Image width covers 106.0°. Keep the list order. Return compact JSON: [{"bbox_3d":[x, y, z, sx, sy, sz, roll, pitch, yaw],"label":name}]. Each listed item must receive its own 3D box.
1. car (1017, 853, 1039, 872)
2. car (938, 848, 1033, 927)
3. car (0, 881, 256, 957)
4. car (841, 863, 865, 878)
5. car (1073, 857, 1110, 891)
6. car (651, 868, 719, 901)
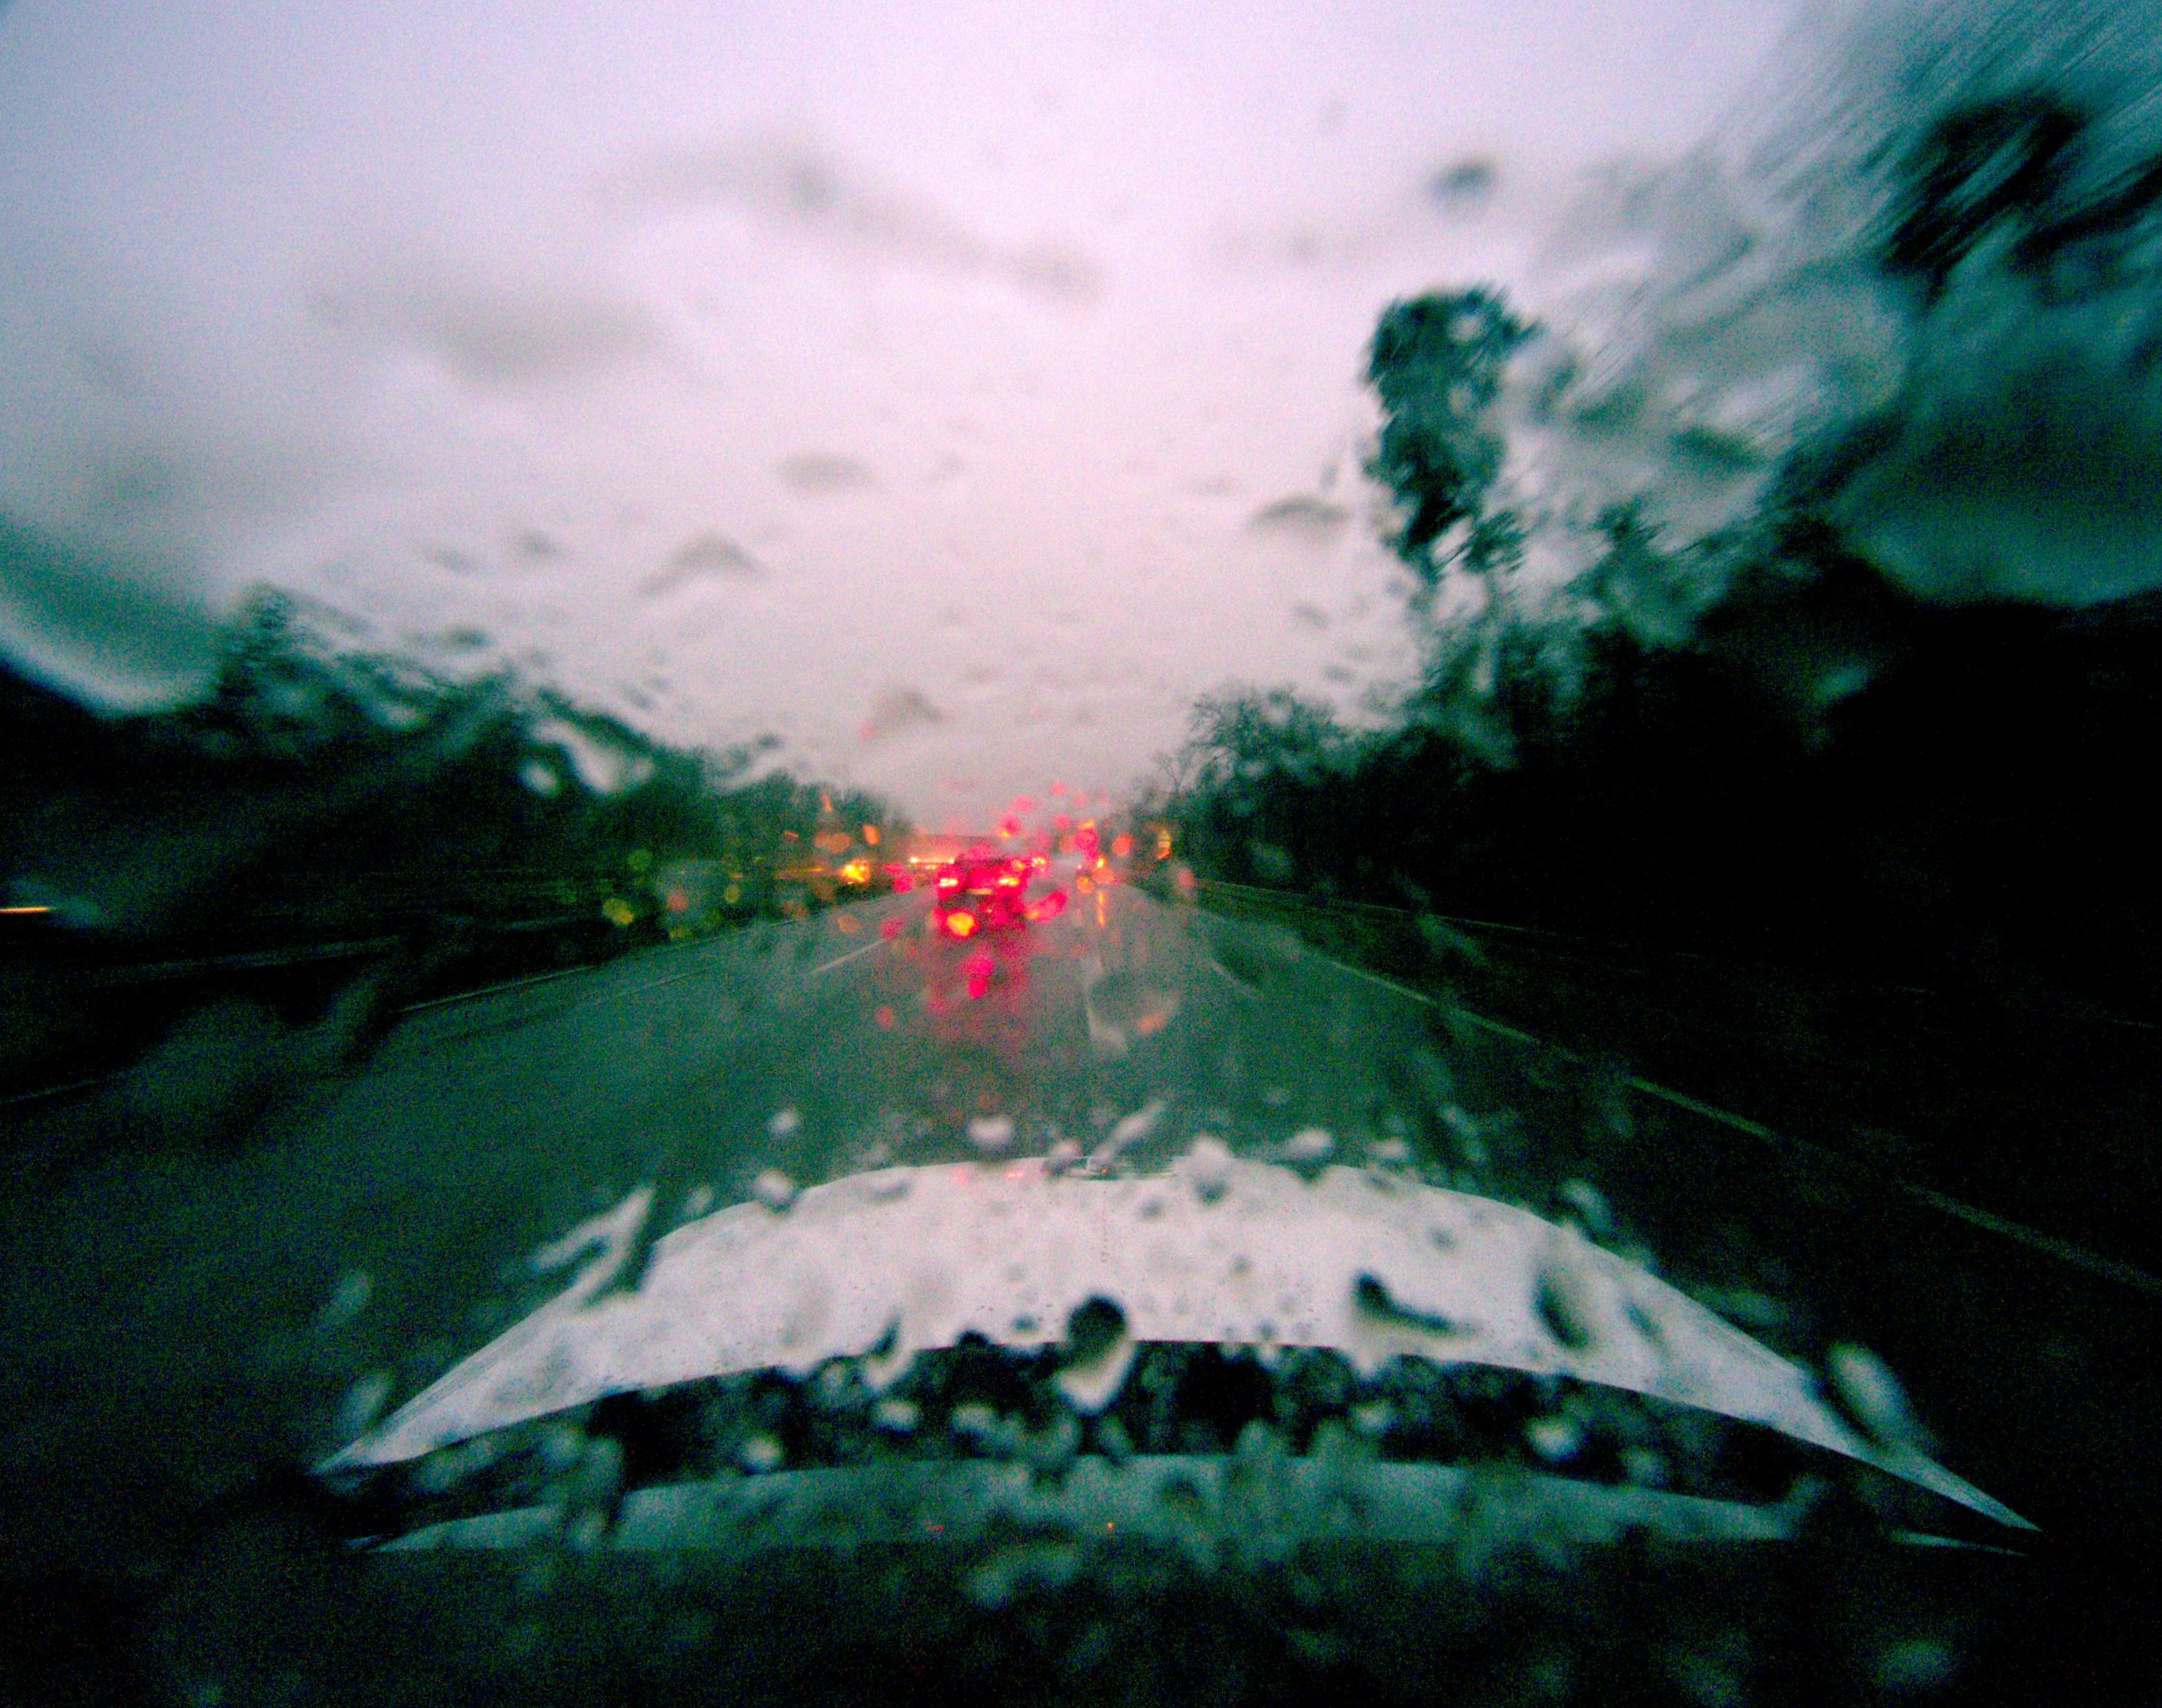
[{"bbox_3d":[-4.959,0.758,75.710,1.876,1.617,3.866,1,1,-7],"label":"car"},{"bbox_3d":[-2.200,0.725,19.466,1.990,1.665,3.994,-1,0,-4],"label":"car"},{"bbox_3d":[-22.667,1.447,19.354,1.733,1.487,4.009,0,-1,8],"label":"car"},{"bbox_3d":[-23.773,1.675,84.742,1.752,1.487,3.966,1,-1,-26],"label":"car"},{"bbox_3d":[0.553,1.064,45.947,1.729,1.428,3.761,-2,5,-5],"label":"car"},{"bbox_3d":[-20.052,1.490,41.440,1.742,1.487,4.417,2,0,-8],"label":"car"}]
